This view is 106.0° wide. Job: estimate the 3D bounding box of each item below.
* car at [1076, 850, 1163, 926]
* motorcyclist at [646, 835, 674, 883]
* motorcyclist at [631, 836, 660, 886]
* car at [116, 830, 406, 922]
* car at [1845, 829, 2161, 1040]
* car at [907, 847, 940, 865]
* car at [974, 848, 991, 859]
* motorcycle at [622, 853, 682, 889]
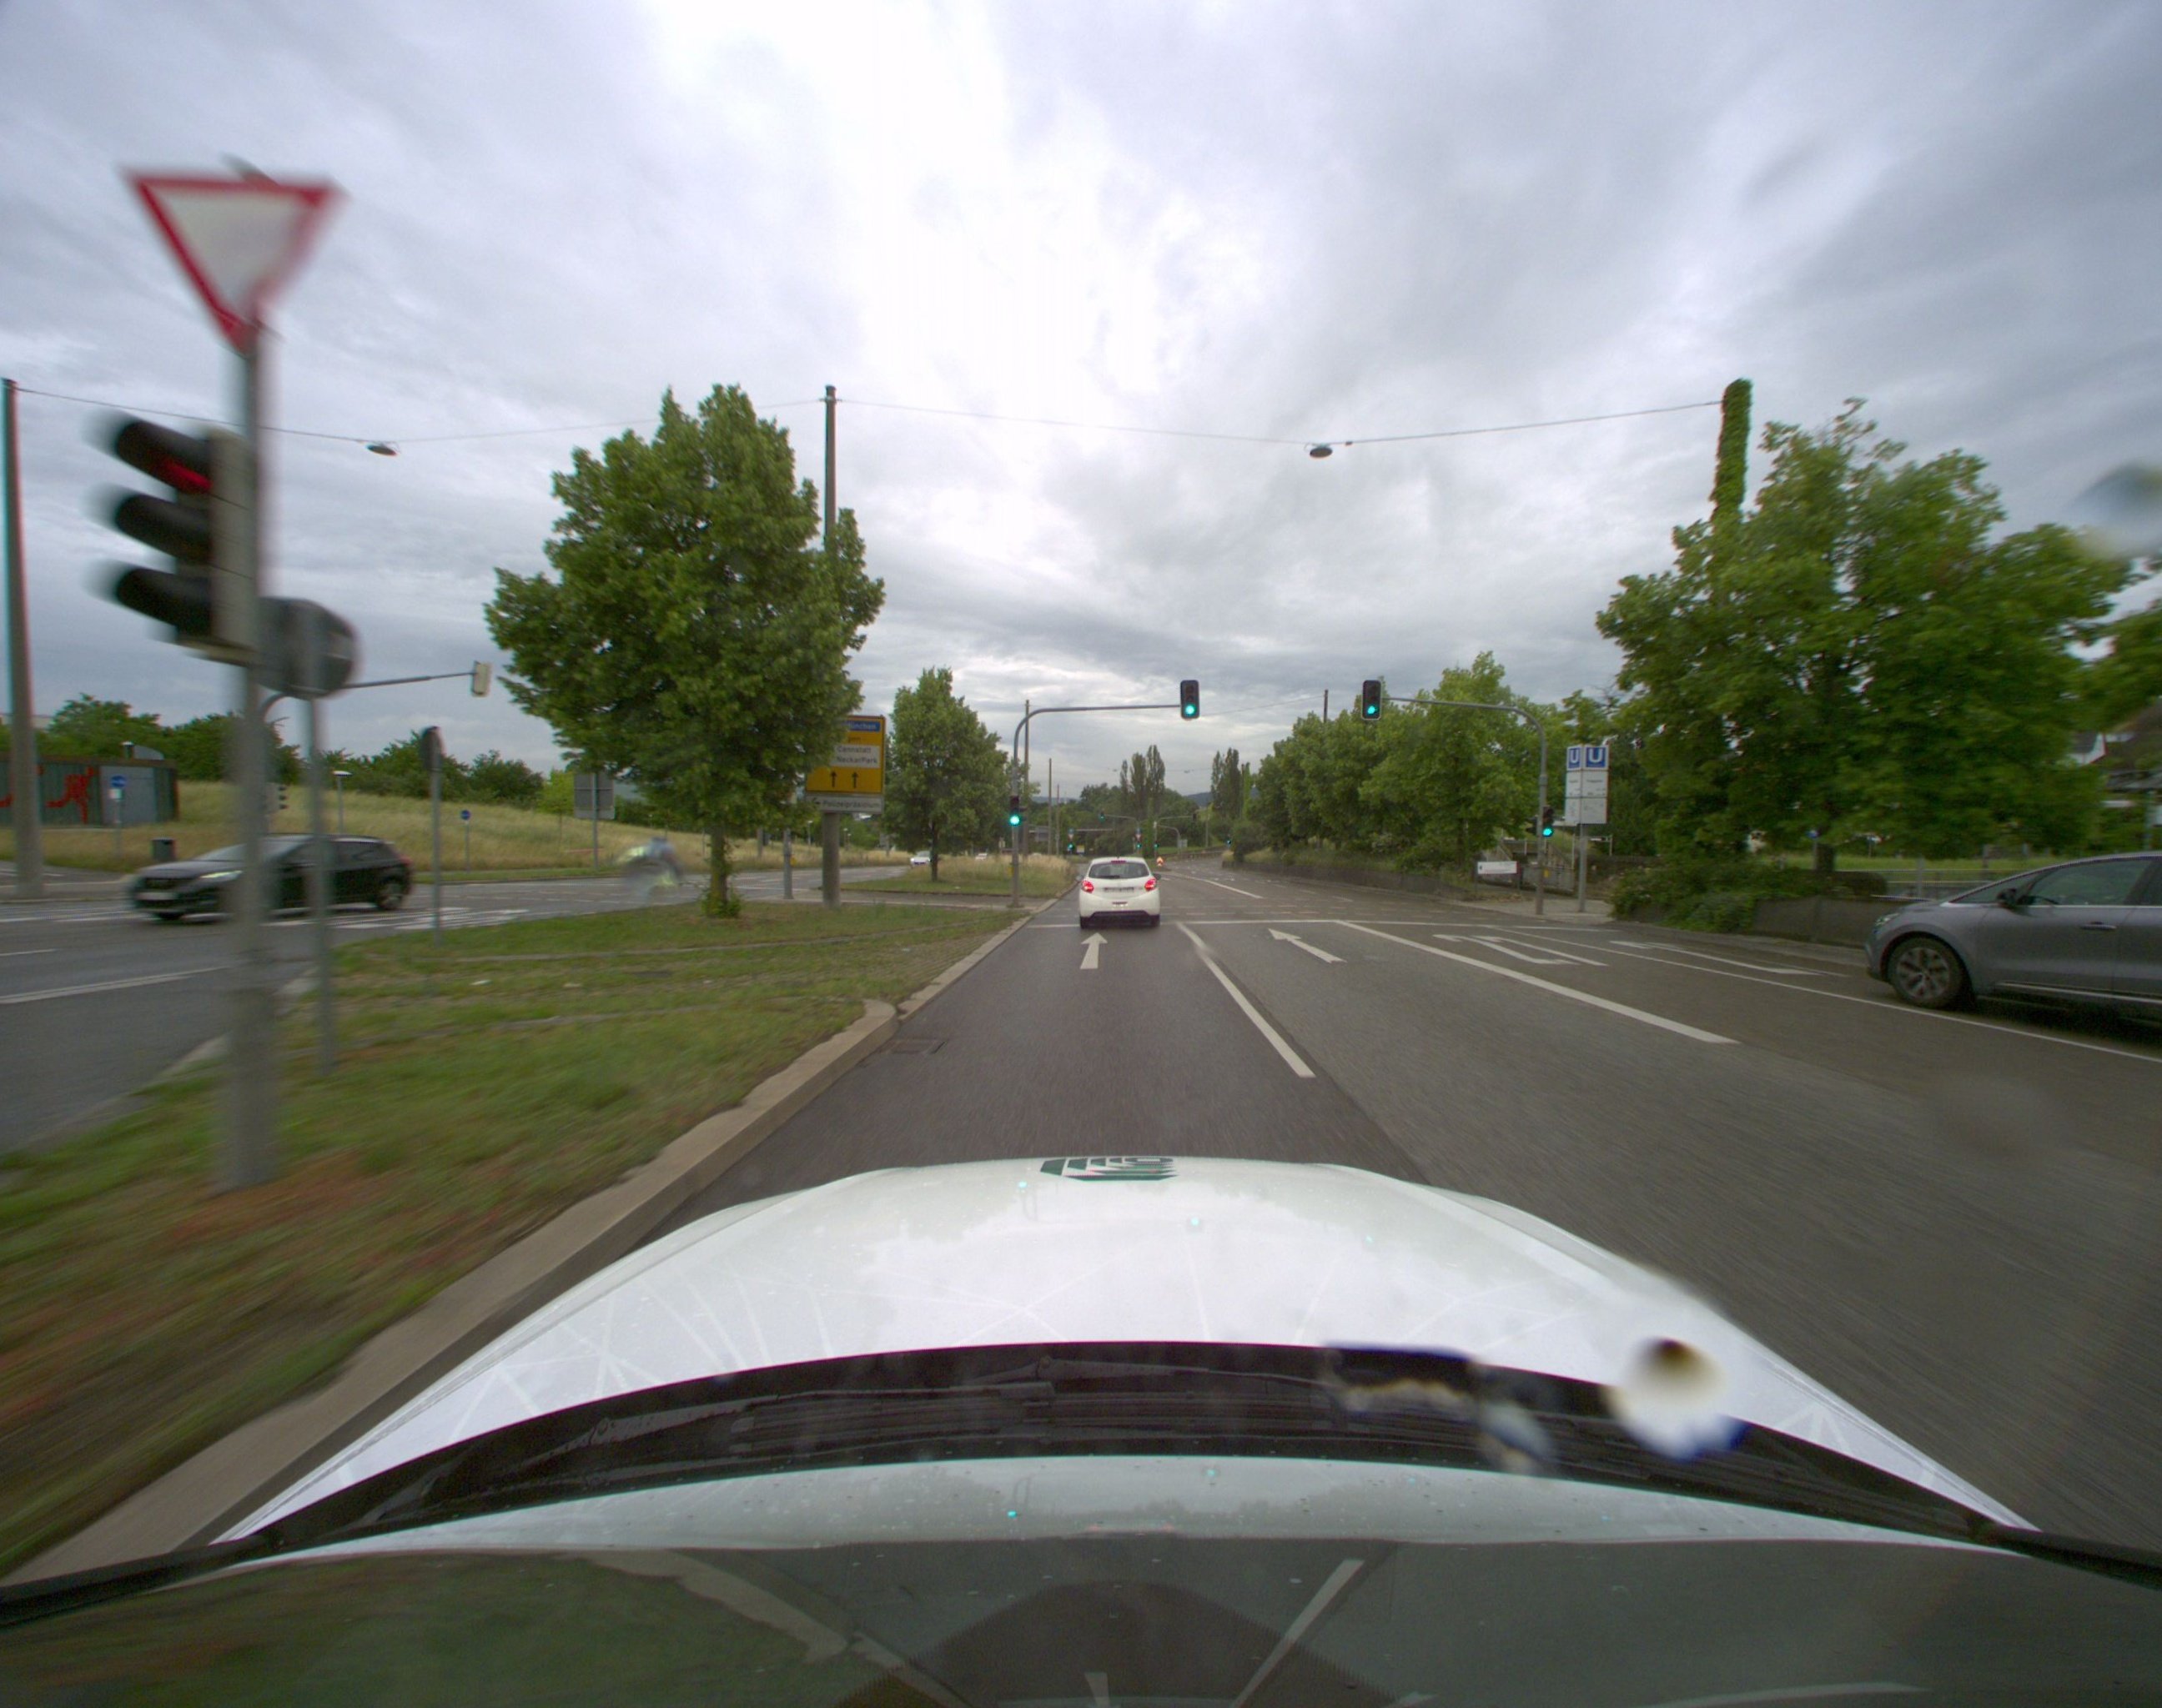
[{"bbox_3d":[0.832,0.680,18.163,1.702,1.440,3.692,-1,1,2],"label":"car"},{"bbox_3d":[-14.120,0.173,27.347,0.610,1.581,0.582,0,1,1],"label":"motorcyclist"},{"bbox_3d":[-14.190,0.227,26.552,0.580,1.596,0.644,0,2,1],"label":"motorcyclist"},{"bbox_3d":[-15.015,0.352,15.228,1.531,1.503,3.666,0,0,4],"label":"car"},{"bbox_3d":[9.367,0.653,6.764,1.719,1.648,4.627,2,2,1],"label":"car"},{"bbox_3d":[-12.293,0.153,63.664,1.531,1.389,3.933,0,0,5],"label":"car"},{"bbox_3d":[-15.681,-0.050,129.695,1.878,1.611,4.678,0,-1,2],"label":"car"},{"bbox_3d":[-14.146,0.545,26.935,0.614,1.050,2.503,0,2,2],"label":"motorcycle"}]
